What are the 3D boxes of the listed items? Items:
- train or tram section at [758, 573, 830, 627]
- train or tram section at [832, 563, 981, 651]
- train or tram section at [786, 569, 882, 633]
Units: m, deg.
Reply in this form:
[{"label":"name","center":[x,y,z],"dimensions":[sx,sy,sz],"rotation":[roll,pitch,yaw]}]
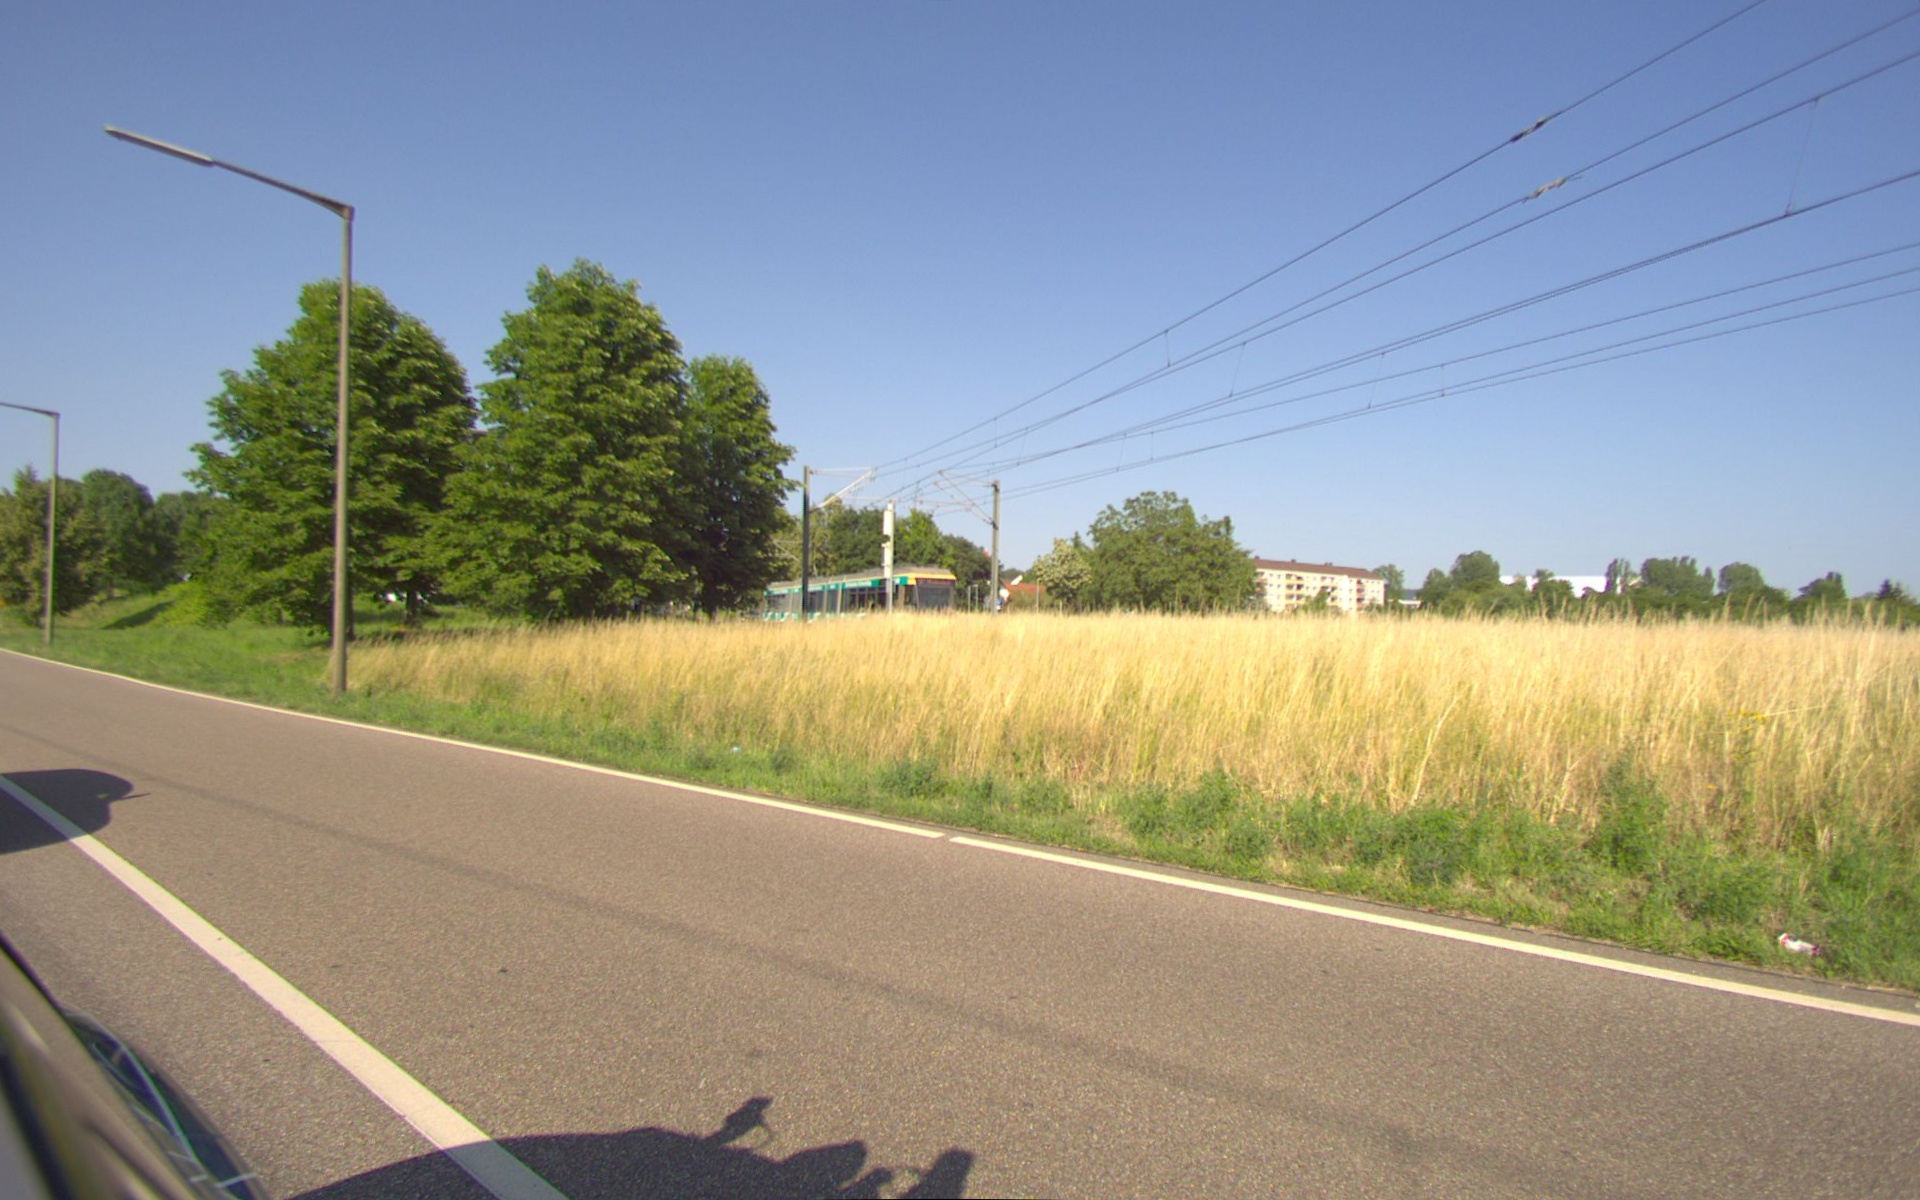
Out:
[{"label":"train or tram section","center":[-12.120,0.018,72.780],"dimensions":[2.909,3.511,12.204],"rotation":[0,0,-20]},{"label":"train or tram section","center":[-3.041,0.139,48.958],"dimensions":[2.865,3.595,14.309],"rotation":[0,1,-21]},{"label":"train or tram section","center":[-7.878,0.003,61.393],"dimensions":[2.876,3.480,12.205],"rotation":[0,0,-21]}]
